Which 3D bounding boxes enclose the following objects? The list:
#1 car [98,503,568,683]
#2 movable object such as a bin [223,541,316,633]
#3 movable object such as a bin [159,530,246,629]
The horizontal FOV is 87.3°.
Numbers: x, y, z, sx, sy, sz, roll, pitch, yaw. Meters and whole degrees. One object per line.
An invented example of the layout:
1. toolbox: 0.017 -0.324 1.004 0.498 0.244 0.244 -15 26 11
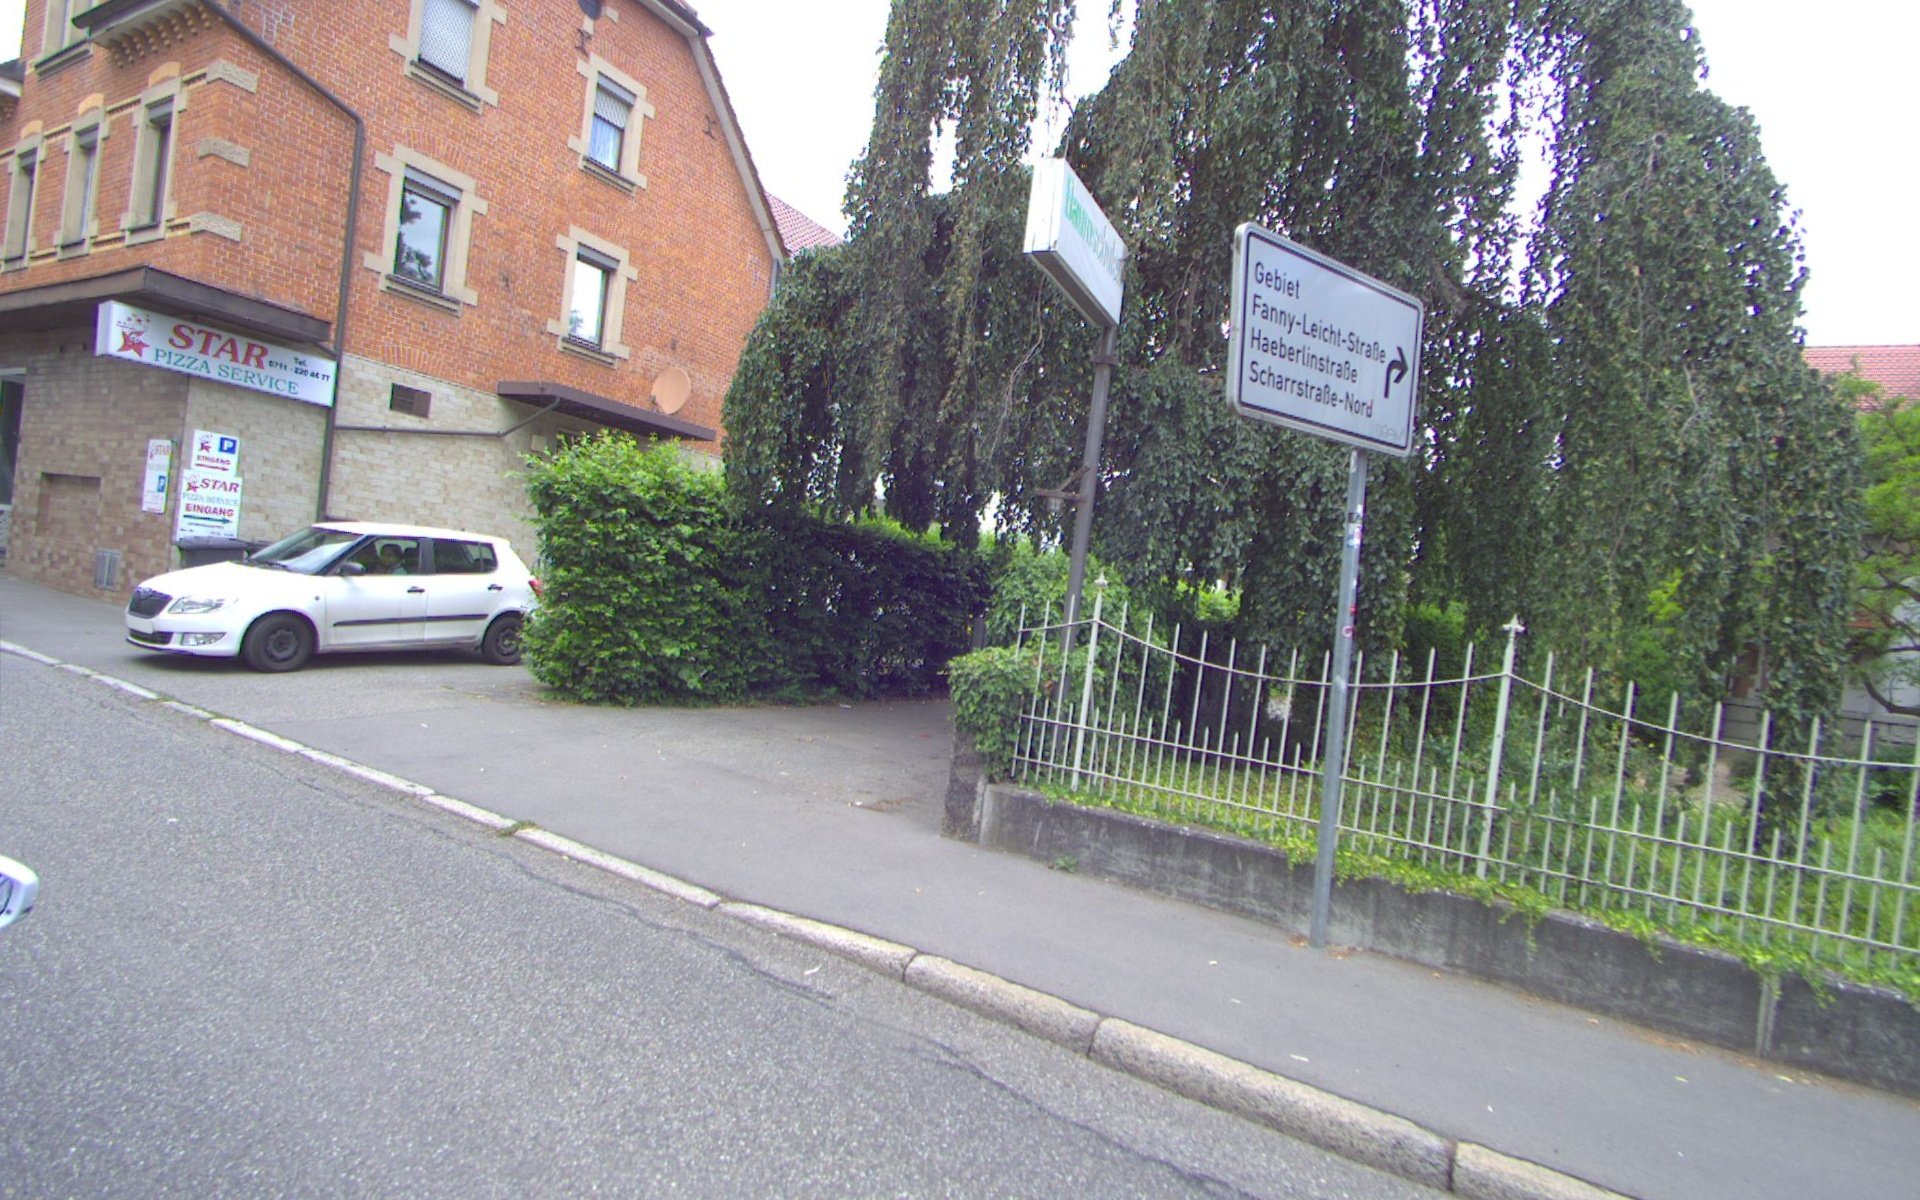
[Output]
1. car: -6.482 -0.088 10.892 1.574 1.490 4.029 7 3 29
2. movable object such as a bin: -8.838 -0.163 12.885 0.711 1.073 0.699 7 2 31
3. movable object such as a bin: -9.190 -0.248 12.215 0.612 1.115 0.607 7 2 31
